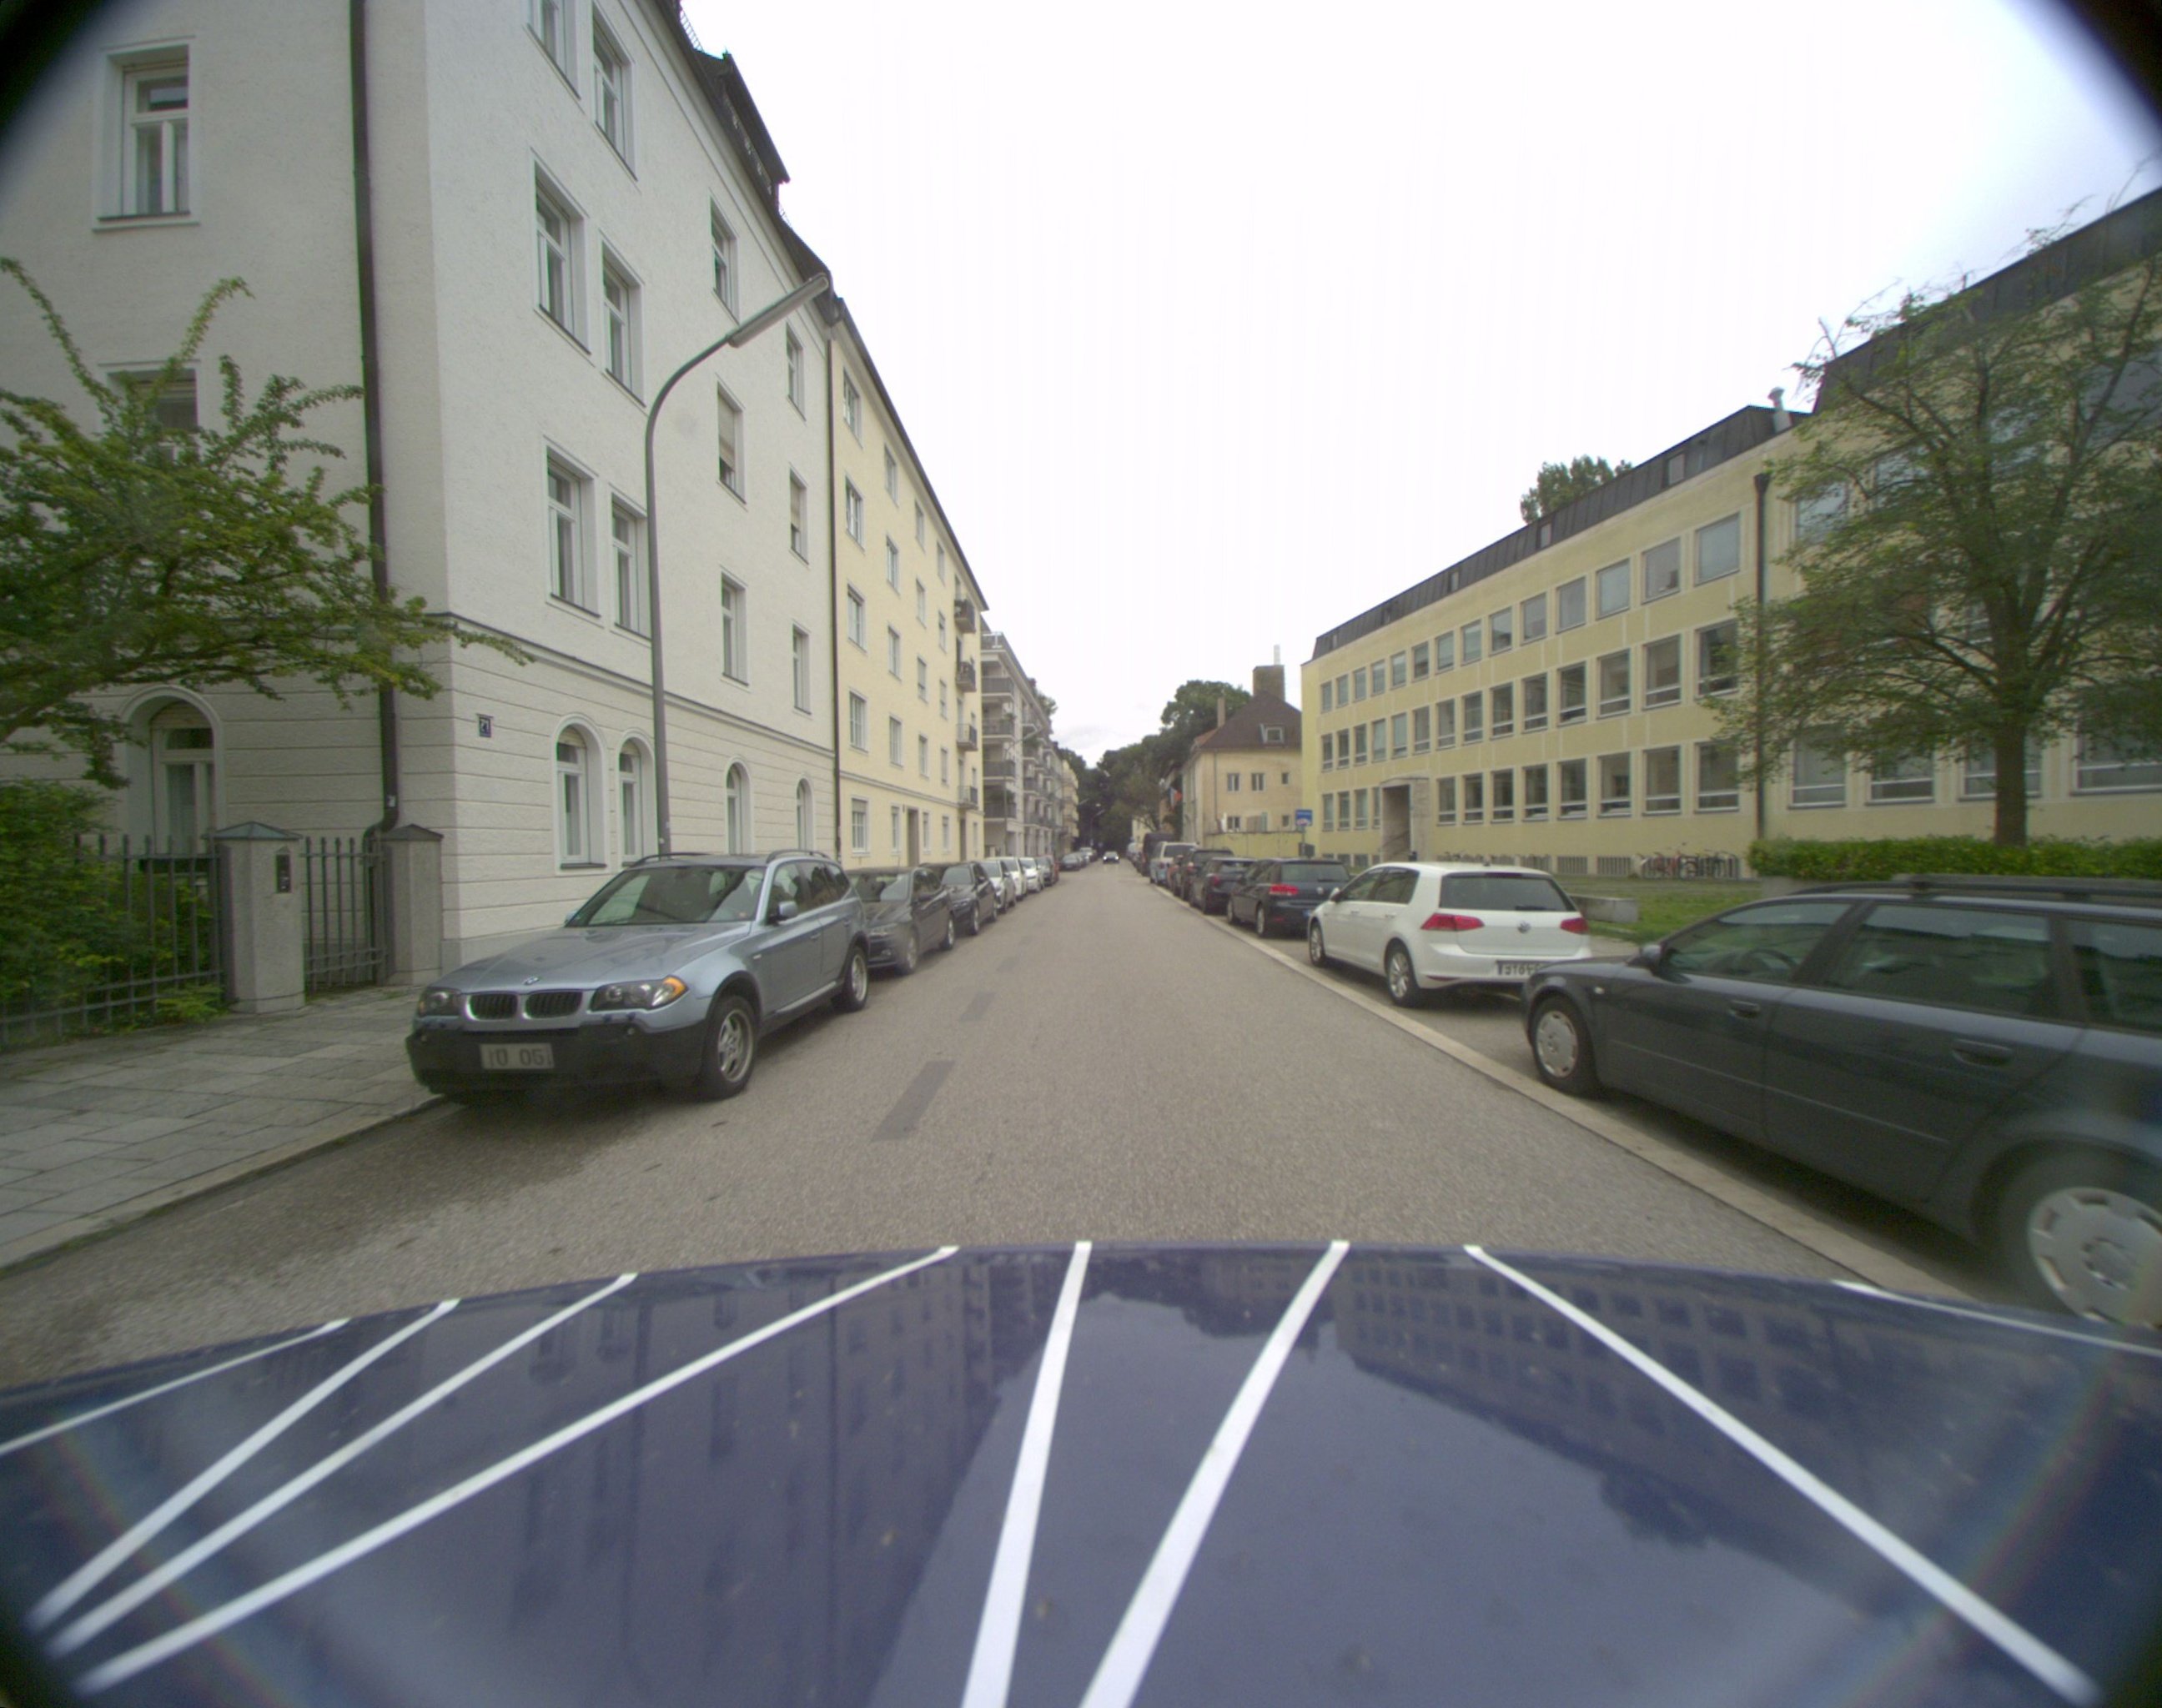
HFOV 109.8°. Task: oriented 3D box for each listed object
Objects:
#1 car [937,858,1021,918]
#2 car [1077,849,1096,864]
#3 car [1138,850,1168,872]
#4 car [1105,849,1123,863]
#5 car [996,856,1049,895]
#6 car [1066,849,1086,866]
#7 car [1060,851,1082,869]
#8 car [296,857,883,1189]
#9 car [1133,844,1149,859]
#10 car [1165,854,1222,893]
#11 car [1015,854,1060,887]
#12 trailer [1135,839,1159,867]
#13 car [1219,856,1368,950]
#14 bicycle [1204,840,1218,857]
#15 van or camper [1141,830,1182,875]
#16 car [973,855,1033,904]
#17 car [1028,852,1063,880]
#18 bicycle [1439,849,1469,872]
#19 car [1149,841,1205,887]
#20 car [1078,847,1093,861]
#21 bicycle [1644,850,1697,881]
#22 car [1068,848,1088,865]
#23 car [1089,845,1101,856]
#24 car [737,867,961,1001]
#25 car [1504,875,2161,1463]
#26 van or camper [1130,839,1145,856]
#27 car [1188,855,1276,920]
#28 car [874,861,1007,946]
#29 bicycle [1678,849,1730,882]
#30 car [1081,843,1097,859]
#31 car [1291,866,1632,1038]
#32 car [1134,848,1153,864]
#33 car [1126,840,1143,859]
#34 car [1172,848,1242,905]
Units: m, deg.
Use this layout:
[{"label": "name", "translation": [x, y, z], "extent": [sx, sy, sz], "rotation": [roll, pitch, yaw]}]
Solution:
[{"label": "car", "translation": [-2.761, 0.873, 21.440], "extent": [1.728, 1.441, 4.187], "rotation": [-2, 0, 0]}, {"label": "car", "translation": [0.622, 0.251, 80.901], "extent": [1.842, 1.524, 4.022], "rotation": [0, 0, 2]}, {"label": "car", "translation": [5.035, 0.454, 53.408], "extent": [1.657, 1.488, 3.908], "rotation": [1, 1, -1]}, {"label": "car", "translation": [3.818, 0.187, 87.482], "extent": [1.998, 1.521, 4.000], "rotation": [-2, 0, 2]}, {"label": "car", "translation": [-2.346, 0.823, 31.324], "extent": [1.729, 1.421, 4.293], "rotation": [-2, 0, 1]}, {"label": "car", "translation": [-0.438, 0.321, 70.613], "extent": [1.620, 1.458, 3.747], "rotation": [-2, 0, 3]}, {"label": "car", "translation": [-0.799, 0.467, 64.888], "extent": [1.775, 1.467, 4.217], "rotation": [-1, 0, 0]}, {"label": "car", "translation": [-3.189, 0.912, 6.286], "extent": [1.851, 1.654, 4.497], "rotation": [-2, 1, 0]}, {"label": "car", "translation": [7.285, -0.300, 92.614], "extent": [1.719, 1.746, 4.251], "rotation": [0, 0, 2]}, {"label": "car", "translation": [4.390, 0.724, 30.244], "extent": [1.809, 1.398, 3.709], "rotation": [1, 1, 2]}, {"label": "car", "translation": [-2.035, 0.744, 37.072], "extent": [1.777, 1.421, 4.615], "rotation": [-2, 0, 1]}, {"label": "trailer", "translation": [6.158, -0.155, 70.541], "extent": [1.980, 2.457, 4.578], "rotation": [2, 1, 6]}, {"label": "car", "translation": [3.922, 0.826, 14.750], "extent": [1.635, 1.486, 4.099], "rotation": [1, 1, -1]}, {"label": "bicycle", "translation": [9.730, -0.396, 56.879], "extent": [0.804, 1.226, 1.868], "rotation": [-1, 1, 2]}, {"label": "van or camper", "translation": [5.043, -0.103, 48.140], "extent": [2.298, 2.636, 5.562], "rotation": [1, 1, 4]}, {"label": "car", "translation": [-2.682, 0.830, 26.787], "extent": [1.655, 1.535, 3.993], "rotation": [-2, 0, 0]}, {"label": "car", "translation": [-1.929, 0.653, 42.184], "extent": [1.659, 1.421, 3.756], "rotation": [-2, 0, 1]}, {"label": "bicycle", "translation": [16.960, 0.297, 34.514], "extent": [1.413, 0.939, 0.413], "rotation": [-3, 1, -27]}, {"label": "car", "translation": [4.340, 0.431, 35.181], "extent": [1.920, 1.948, 4.961], "rotation": [1, 0, 0]}, {"label": "car", "translation": [0.544, -0.038, 87.407], "extent": [1.668, 1.459, 4.375], "rotation": [-1, 2, 0]}, {"label": "bicycle", "translation": [19.431, 0.385, 25.036], "extent": [1.410, 0.939, 0.414], "rotation": [-3, 1, -1]}, {"label": "car", "translation": [-0.234, 0.224, 75.581], "extent": [1.795, 1.473, 4.603], "rotation": [-2, 1, 1]}, {"label": "car", "translation": [2.262, -0.530, 119.301], "extent": [1.771, 1.607, 4.263], "rotation": [-1, 0, 2]}, {"label": "car", "translation": [-3.067, 0.981, 11.029], "extent": [1.832, 1.441, 4.084], "rotation": [-2, 0, 2]}, {"label": "car", "translation": [3.781, 0.912, 3.206], "extent": [1.635, 1.486, 4.275], "rotation": [0, 1, 1]}, {"label": "van or camper", "translation": [8.804, -1.026, 119.388], "extent": [2.116, 2.646, 4.958], "rotation": [0, 1, 2]}, {"label": "car", "translation": [3.811, 0.781, 19.754], "extent": [1.635, 1.486, 3.820], "rotation": [0, 1, 2]}, {"label": "car", "translation": [-2.856, 0.949, 16.529], "extent": [1.880, 1.441, 4.678], "rotation": [-2, 0, 1]}, {"label": "bicycle", "translation": [19.226, 0.346, 23.458], "extent": [1.411, 0.939, 0.414], "rotation": [-3, 1, -11]}, {"label": "car", "translation": [1.138, -0.413, 102.345], "extent": [1.858, 2.019, 4.783], "rotation": [-2, 0, 3]}, {"label": "car", "translation": [3.940, 0.894, 8.824], "extent": [1.745, 1.414, 4.293], "rotation": [0, 1, -1]}, {"label": "car", "translation": [6.191, 0.211, 75.574], "extent": [1.683, 1.521, 4.107], "rotation": [0, 0, 2]}, {"label": "car", "translation": [7.197, -0.574, 103.115], "extent": [2.116, 2.462, 5.231], "rotation": [0, 0, 2]}, {"label": "car", "translation": [4.050, 0.667, 24.950], "extent": [1.719, 1.680, 4.141], "rotation": [1, 1, 2]}]
